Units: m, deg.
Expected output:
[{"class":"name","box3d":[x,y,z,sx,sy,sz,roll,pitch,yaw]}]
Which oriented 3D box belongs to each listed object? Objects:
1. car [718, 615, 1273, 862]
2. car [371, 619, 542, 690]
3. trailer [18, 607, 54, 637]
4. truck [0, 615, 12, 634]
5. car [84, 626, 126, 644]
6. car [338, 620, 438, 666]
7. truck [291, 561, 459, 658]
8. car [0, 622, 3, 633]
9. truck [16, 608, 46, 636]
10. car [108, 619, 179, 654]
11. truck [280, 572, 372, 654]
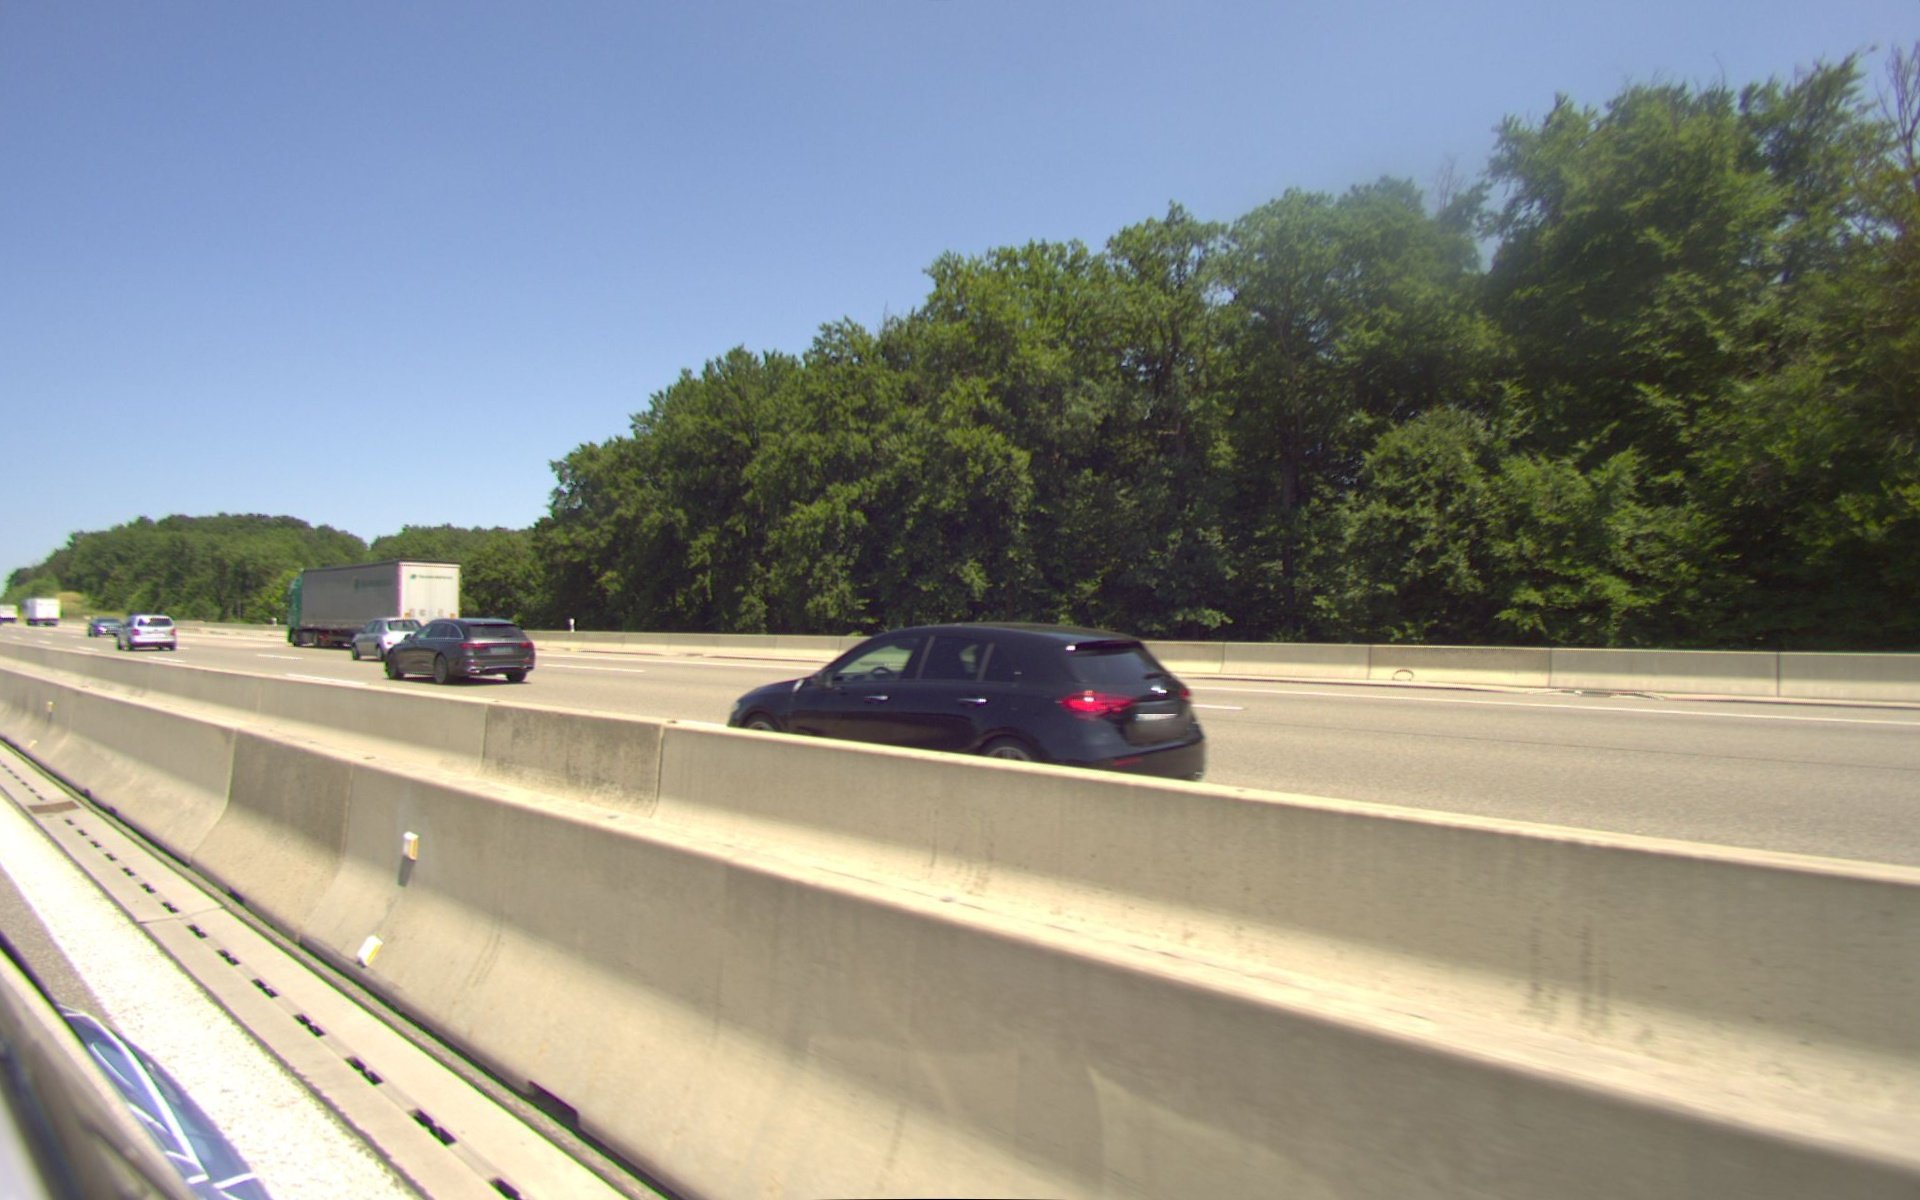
[{"class":"car","box3d":[0.039,0.871,8.164,4.503,1.480,1.584,-1,-1,41]},{"class":"car","box3d":[-11.921,1.206,23.801,5.110,1.487,1.853,-1,-1,42]},{"class":"trailer","box3d":[-134.615,3.203,147.385,14.360,4.257,2.614,-2,-2,43]},{"class":"truck","box3d":[-185.464,4.697,195.756,8.575,3.598,2.512,-2,-1,42]},{"class":"car","box3d":[-65.233,2.683,77.179,4.728,1.311,1.812,-1,-1,42]},{"class":"car","box3d":[-20.336,1.475,35.910,4.134,1.546,1.853,-1,-1,41]},{"class":"truck","box3d":[-28.125,0.531,48.121,14.294,4.056,2.661,-1,-1,42]},{"class":"car","box3d":[-154.013,4.367,161.285,5.079,1.655,1.778,-2,-2,43]},{"class":"truck","box3d":[-139.205,3.355,151.600,7.876,4.131,2.685,-2,-2,43]},{"class":"car","box3d":[-38.237,1.686,47.358,4.775,1.573,1.812,-1,-2,42]},{"class":"truck","box3d":[-32.987,0.707,52.610,5.509,4.056,2.629,-1,-1,42]}]
